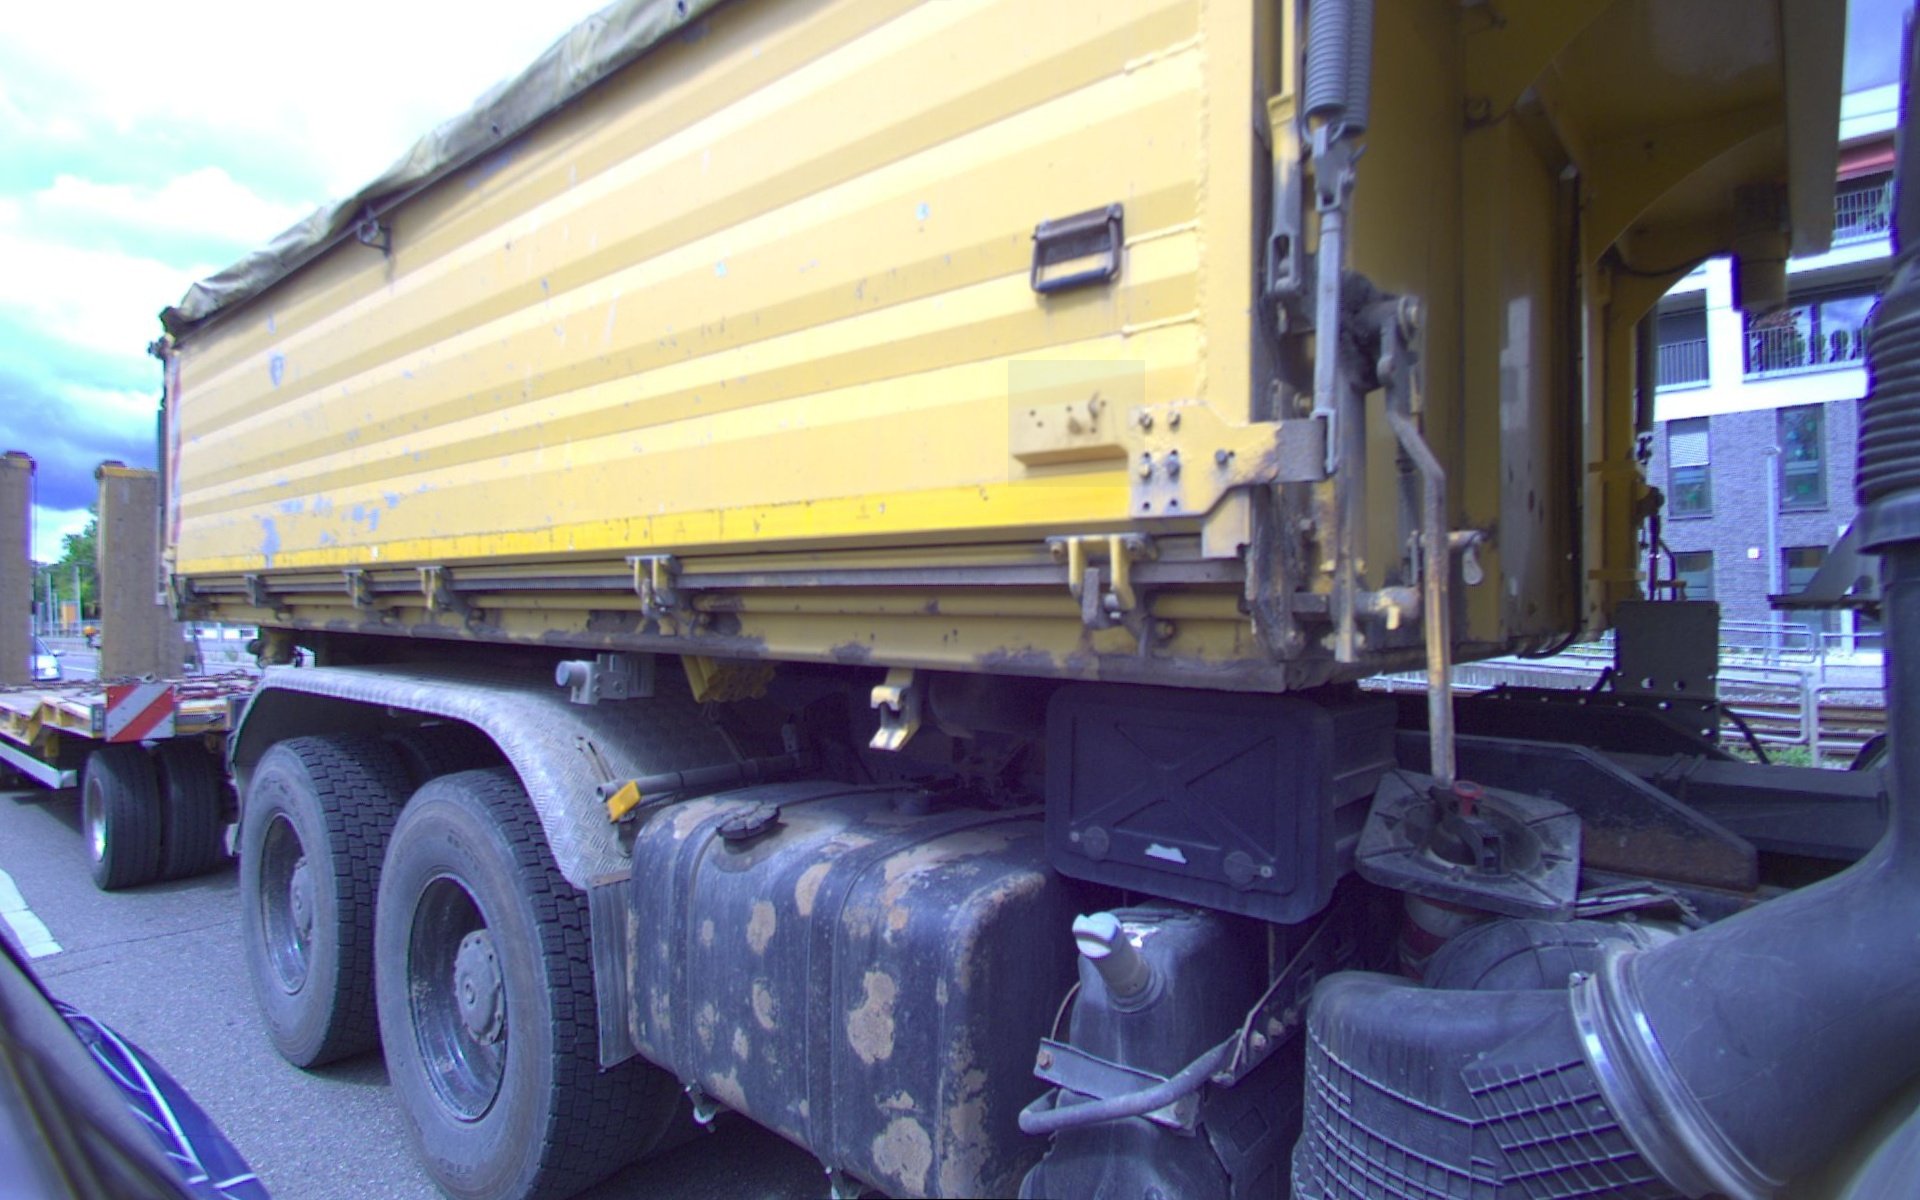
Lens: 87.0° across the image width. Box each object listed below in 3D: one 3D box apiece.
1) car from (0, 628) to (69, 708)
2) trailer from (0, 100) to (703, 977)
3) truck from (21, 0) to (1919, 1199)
[{"bbox_3d":[-18.746,1.286,19.614,3.784,1.427,1.761,-2,-1,41],"label":"car"},{"bbox_3d":[-6.849,-0.140,9.011,10.957,3.726,3.018,-2,-1,40],"label":"trailer"},{"bbox_3d":[0.094,-0.224,2.821,7.999,3.420,3.019,-2,-1,40],"label":"truck"}]
